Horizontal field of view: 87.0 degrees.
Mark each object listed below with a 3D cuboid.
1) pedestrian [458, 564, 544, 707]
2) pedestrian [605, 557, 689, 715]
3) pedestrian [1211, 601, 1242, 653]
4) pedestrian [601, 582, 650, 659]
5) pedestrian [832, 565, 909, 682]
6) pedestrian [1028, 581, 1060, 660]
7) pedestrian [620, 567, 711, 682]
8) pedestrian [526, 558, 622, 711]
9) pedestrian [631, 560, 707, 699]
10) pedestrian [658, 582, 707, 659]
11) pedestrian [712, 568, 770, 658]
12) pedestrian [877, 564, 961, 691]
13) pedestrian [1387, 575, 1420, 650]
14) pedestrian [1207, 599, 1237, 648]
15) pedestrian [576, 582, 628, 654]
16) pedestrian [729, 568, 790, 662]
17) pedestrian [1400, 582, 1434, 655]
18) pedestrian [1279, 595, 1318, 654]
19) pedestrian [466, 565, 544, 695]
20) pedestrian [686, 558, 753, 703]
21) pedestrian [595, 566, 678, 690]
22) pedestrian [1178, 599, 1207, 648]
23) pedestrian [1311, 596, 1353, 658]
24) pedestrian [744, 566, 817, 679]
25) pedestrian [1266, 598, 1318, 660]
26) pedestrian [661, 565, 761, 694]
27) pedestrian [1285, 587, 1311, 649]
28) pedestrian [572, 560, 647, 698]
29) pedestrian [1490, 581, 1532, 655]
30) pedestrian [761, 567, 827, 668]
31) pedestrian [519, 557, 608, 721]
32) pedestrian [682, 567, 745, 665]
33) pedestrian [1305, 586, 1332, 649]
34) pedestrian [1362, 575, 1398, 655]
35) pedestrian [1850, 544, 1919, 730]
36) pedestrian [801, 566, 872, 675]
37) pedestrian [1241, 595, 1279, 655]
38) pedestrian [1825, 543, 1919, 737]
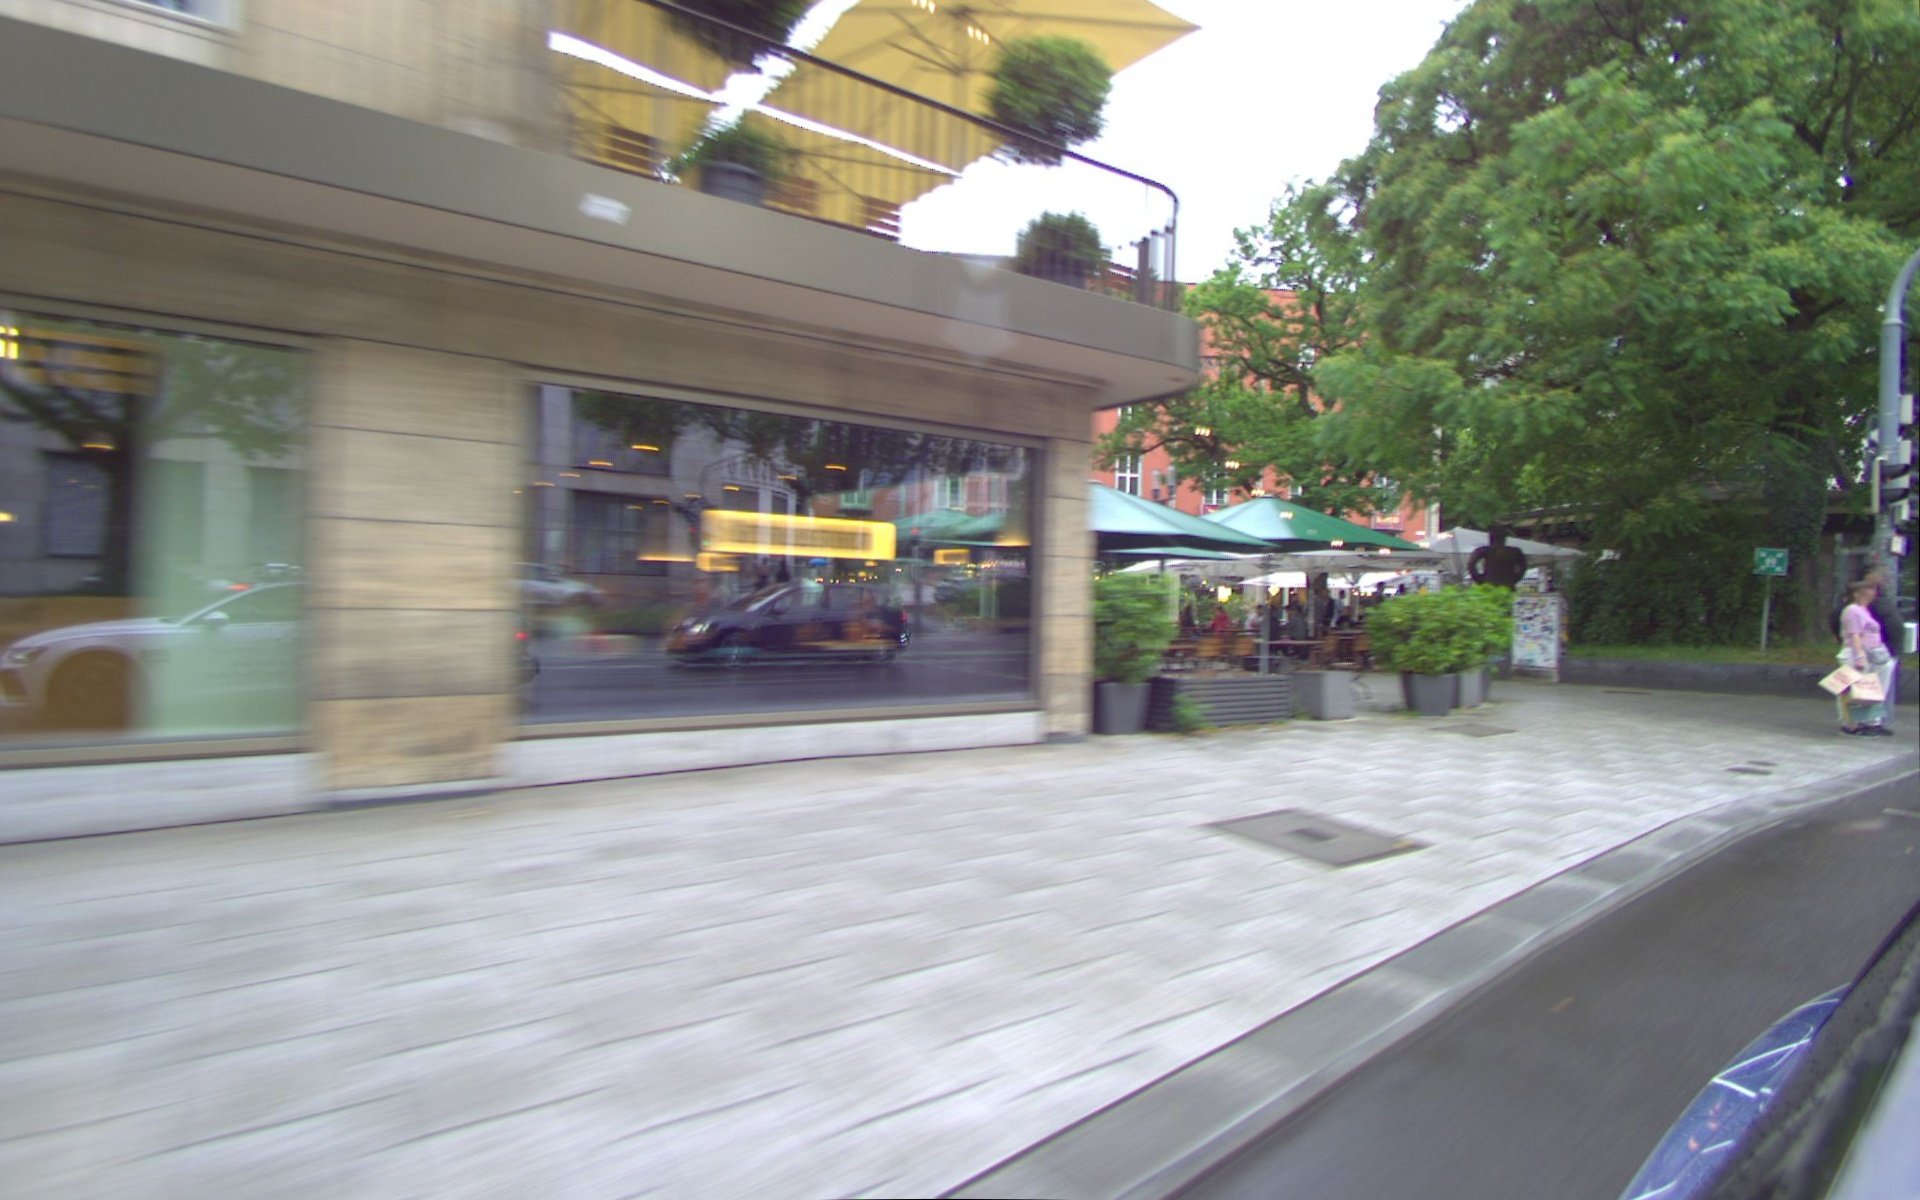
[{"bbox_3d":[-3.590,0.266,7.905,0.534,1.069,0.556,1,-1,-32],"label":"pedestrian"},{"bbox_3d":[-2.241,0.250,7.261,0.472,1.087,0.329,1,-1,-43],"label":"pedestrian"},{"bbox_3d":[6.540,0.648,24.886,0.565,1.256,0.634,0,-1,-2],"label":"pedestrian"},{"bbox_3d":[-4.777,0.292,14.446,0.534,1.069,0.556,1,-1,-32],"label":"pedestrian"},{"bbox_3d":[-0.859,0.219,9.647,0.534,1.069,0.556,1,-1,-32],"label":"pedestrian"},{"bbox_3d":[2.063,0.502,24.829,0.621,1.914,0.464,0,-1,-38],"label":"pedestrian"},{"bbox_3d":[-2.830,0.226,9.757,0.614,1.069,0.605,0,-1,16],"label":"pedestrian"},{"bbox_3d":[-2.878,0.245,7.556,0.432,1.087,0.531,0,-1,43],"label":"pedestrian"},{"bbox_3d":[-2.359,0.229,8.210,0.340,1.087,0.472,0,-1,43],"label":"pedestrian"},{"bbox_3d":[-3.991,0.287,14.548,0.534,1.069,0.556,1,-1,-32],"label":"pedestrian"},{"bbox_3d":[-2.685,0.158,12.410,0.534,1.069,0.556,1,-1,-32],"label":"pedestrian"},{"bbox_3d":[-0.364,0.234,8.945,0.534,1.069,0.556,1,-1,-32],"label":"pedestrian"},{"bbox_3d":[10.185,0.289,23.240,0.537,1.702,0.499,0,-1,4],"label":"pedestrian"},{"bbox_3d":[6.817,0.615,26.315,0.565,1.256,0.634,0,-1,-3],"label":"pedestrian"},{"bbox_3d":[-5.490,0.269,15.496,0.639,1.069,0.556,1,-1,-32],"label":"pedestrian"},{"bbox_3d":[-2.351,0.170,11.839,0.534,1.069,0.556,1,-1,-32],"label":"pedestrian"},{"bbox_3d":[10.803,0.425,23.939,0.537,1.702,0.605,0,-1,3],"label":"pedestrian"},{"bbox_3d":[7.884,0.567,23.616,0.629,1.344,0.719,0,-1,-2],"label":"pedestrian"},{"bbox_3d":[-3.904,0.248,8.673,0.534,1.069,0.556,1,-1,-32],"label":"pedestrian"},{"bbox_3d":[-1.838,0.228,7.764,0.400,1.069,0.545,0,-1,-3],"label":"pedestrian"},{"bbox_3d":[-2.890,0.243,9.060,0.472,1.069,0.561,0,-1,17],"label":"pedestrian"},{"bbox_3d":[6.084,0.613,26.475,0.565,1.256,0.634,0,-1,-3],"label":"pedestrian"},{"bbox_3d":[8.233,0.593,22.426,0.629,1.344,0.719,0,-1,-2],"label":"pedestrian"},{"bbox_3d":[-1.778,0.213,9.993,0.534,1.069,0.556,1,-1,-32],"label":"pedestrian"},{"bbox_3d":[7.315,0.631,22.322,0.928,1.344,0.641,0,-1,0],"label":"pedestrian"},{"bbox_3d":[-2.161,0.246,8.831,0.615,1.069,0.604,0,-1,20],"label":"pedestrian"},{"bbox_3d":[9.292,0.496,27.836,0.537,1.702,0.499,0,-1,4],"label":"pedestrian"},{"bbox_3d":[-2.862,0.229,8.272,0.328,1.087,0.472,0,-1,43],"label":"pedestrian"},{"bbox_3d":[12.975,0.421,23.826,0.670,1.702,0.570,0,-1,5],"label":"pedestrian"},{"bbox_3d":[-1.826,0.185,11.110,0.534,1.069,0.556,1,-1,-32],"label":"pedestrian"},{"bbox_3d":[-2.729,0.258,6.972,0.472,1.087,0.329,1,-1,-43],"label":"pedestrian"},{"bbox_3d":[-2.800,0.179,11.484,0.534,1.069,0.556,1,-1,-32],"label":"pedestrian"},{"bbox_3d":[9.660,0.471,27.274,0.537,1.702,0.499,0,-1,4],"label":"pedestrian"},{"bbox_3d":[9.932,0.357,23.947,0.630,1.859,0.499,0,-1,4],"label":"pedestrian"},{"bbox_3d":[9.698,0.364,10.433,0.552,1.857,0.635,0,1,-30],"label":"pedestrian"},{"bbox_3d":[-1.262,0.201,10.315,0.534,1.069,0.556,1,-1,-32],"label":"pedestrian"},{"bbox_3d":[6.943,0.573,23.469,0.629,1.344,0.719,0,-1,-2],"label":"pedestrian"},{"bbox_3d":[9.111,0.373,10.102,0.586,1.857,0.623,0,1,29],"label":"pedestrian"}]
